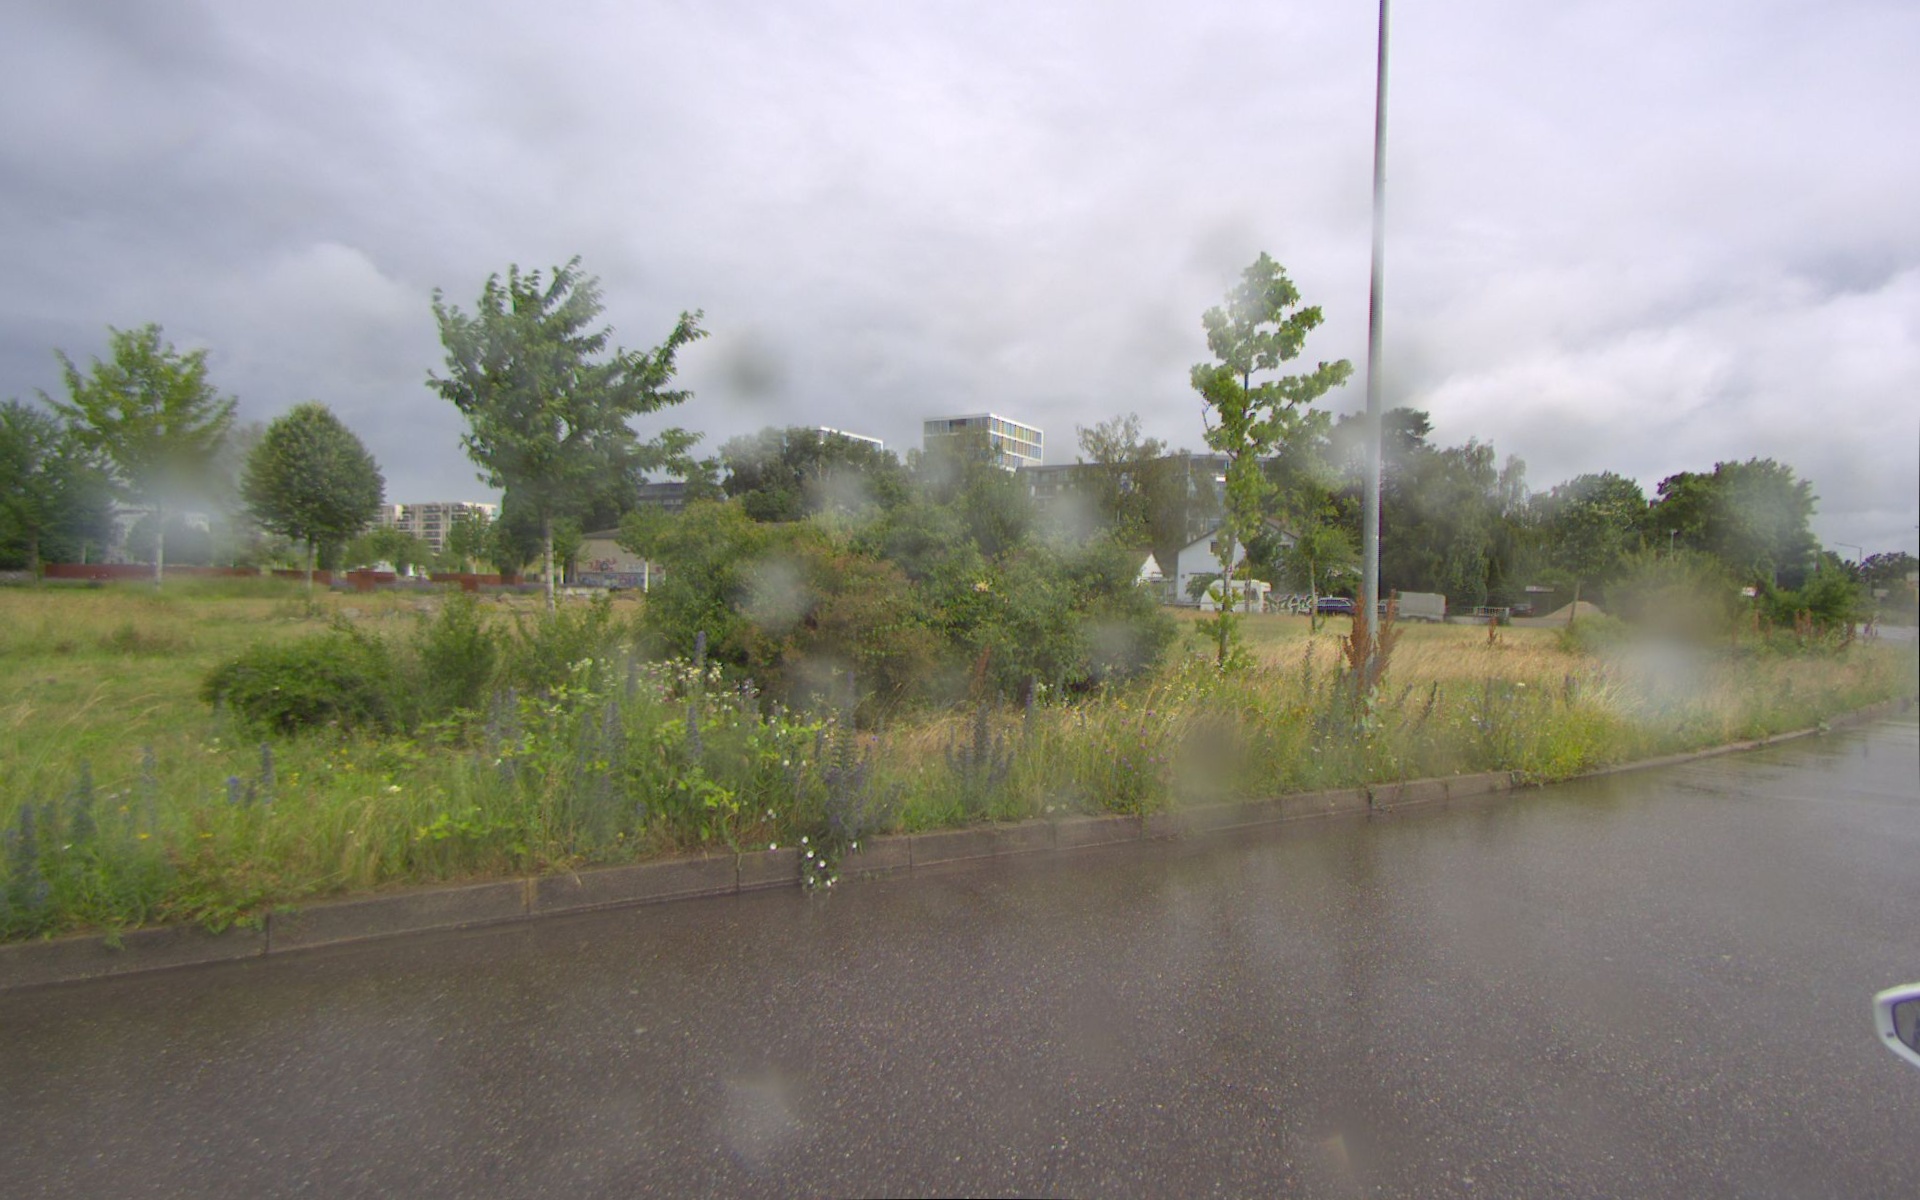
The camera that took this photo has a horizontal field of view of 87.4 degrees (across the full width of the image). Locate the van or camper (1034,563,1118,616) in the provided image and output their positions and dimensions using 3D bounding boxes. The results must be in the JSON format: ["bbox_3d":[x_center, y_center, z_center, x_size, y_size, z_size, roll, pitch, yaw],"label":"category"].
[{"bbox_3d":[8.824,-0.828,76.509,5.752,3.794,2.646,2,1,34],"label":"van or camper"}]

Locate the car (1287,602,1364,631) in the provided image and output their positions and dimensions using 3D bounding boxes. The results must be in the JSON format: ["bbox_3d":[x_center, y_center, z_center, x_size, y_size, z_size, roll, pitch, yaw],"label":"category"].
[{"bbox_3d":[24.358,1.073,67.032,4.443,1.799,1.994,2,1,34],"label":"car"}]

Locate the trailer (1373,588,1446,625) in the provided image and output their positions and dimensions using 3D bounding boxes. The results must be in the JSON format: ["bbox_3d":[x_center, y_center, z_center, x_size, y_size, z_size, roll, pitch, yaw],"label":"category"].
[{"bbox_3d":[28.964,0.386,64.736,4.041,2.117,1.840,4,2,32],"label":"trailer"}]

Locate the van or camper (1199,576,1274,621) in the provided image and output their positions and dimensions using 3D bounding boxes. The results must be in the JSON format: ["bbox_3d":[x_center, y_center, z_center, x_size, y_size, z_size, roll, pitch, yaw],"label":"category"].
[{"bbox_3d":[19.296,-0.119,70.112,4.439,2.985,2.476,2,1,34],"label":"van or camper"}]
